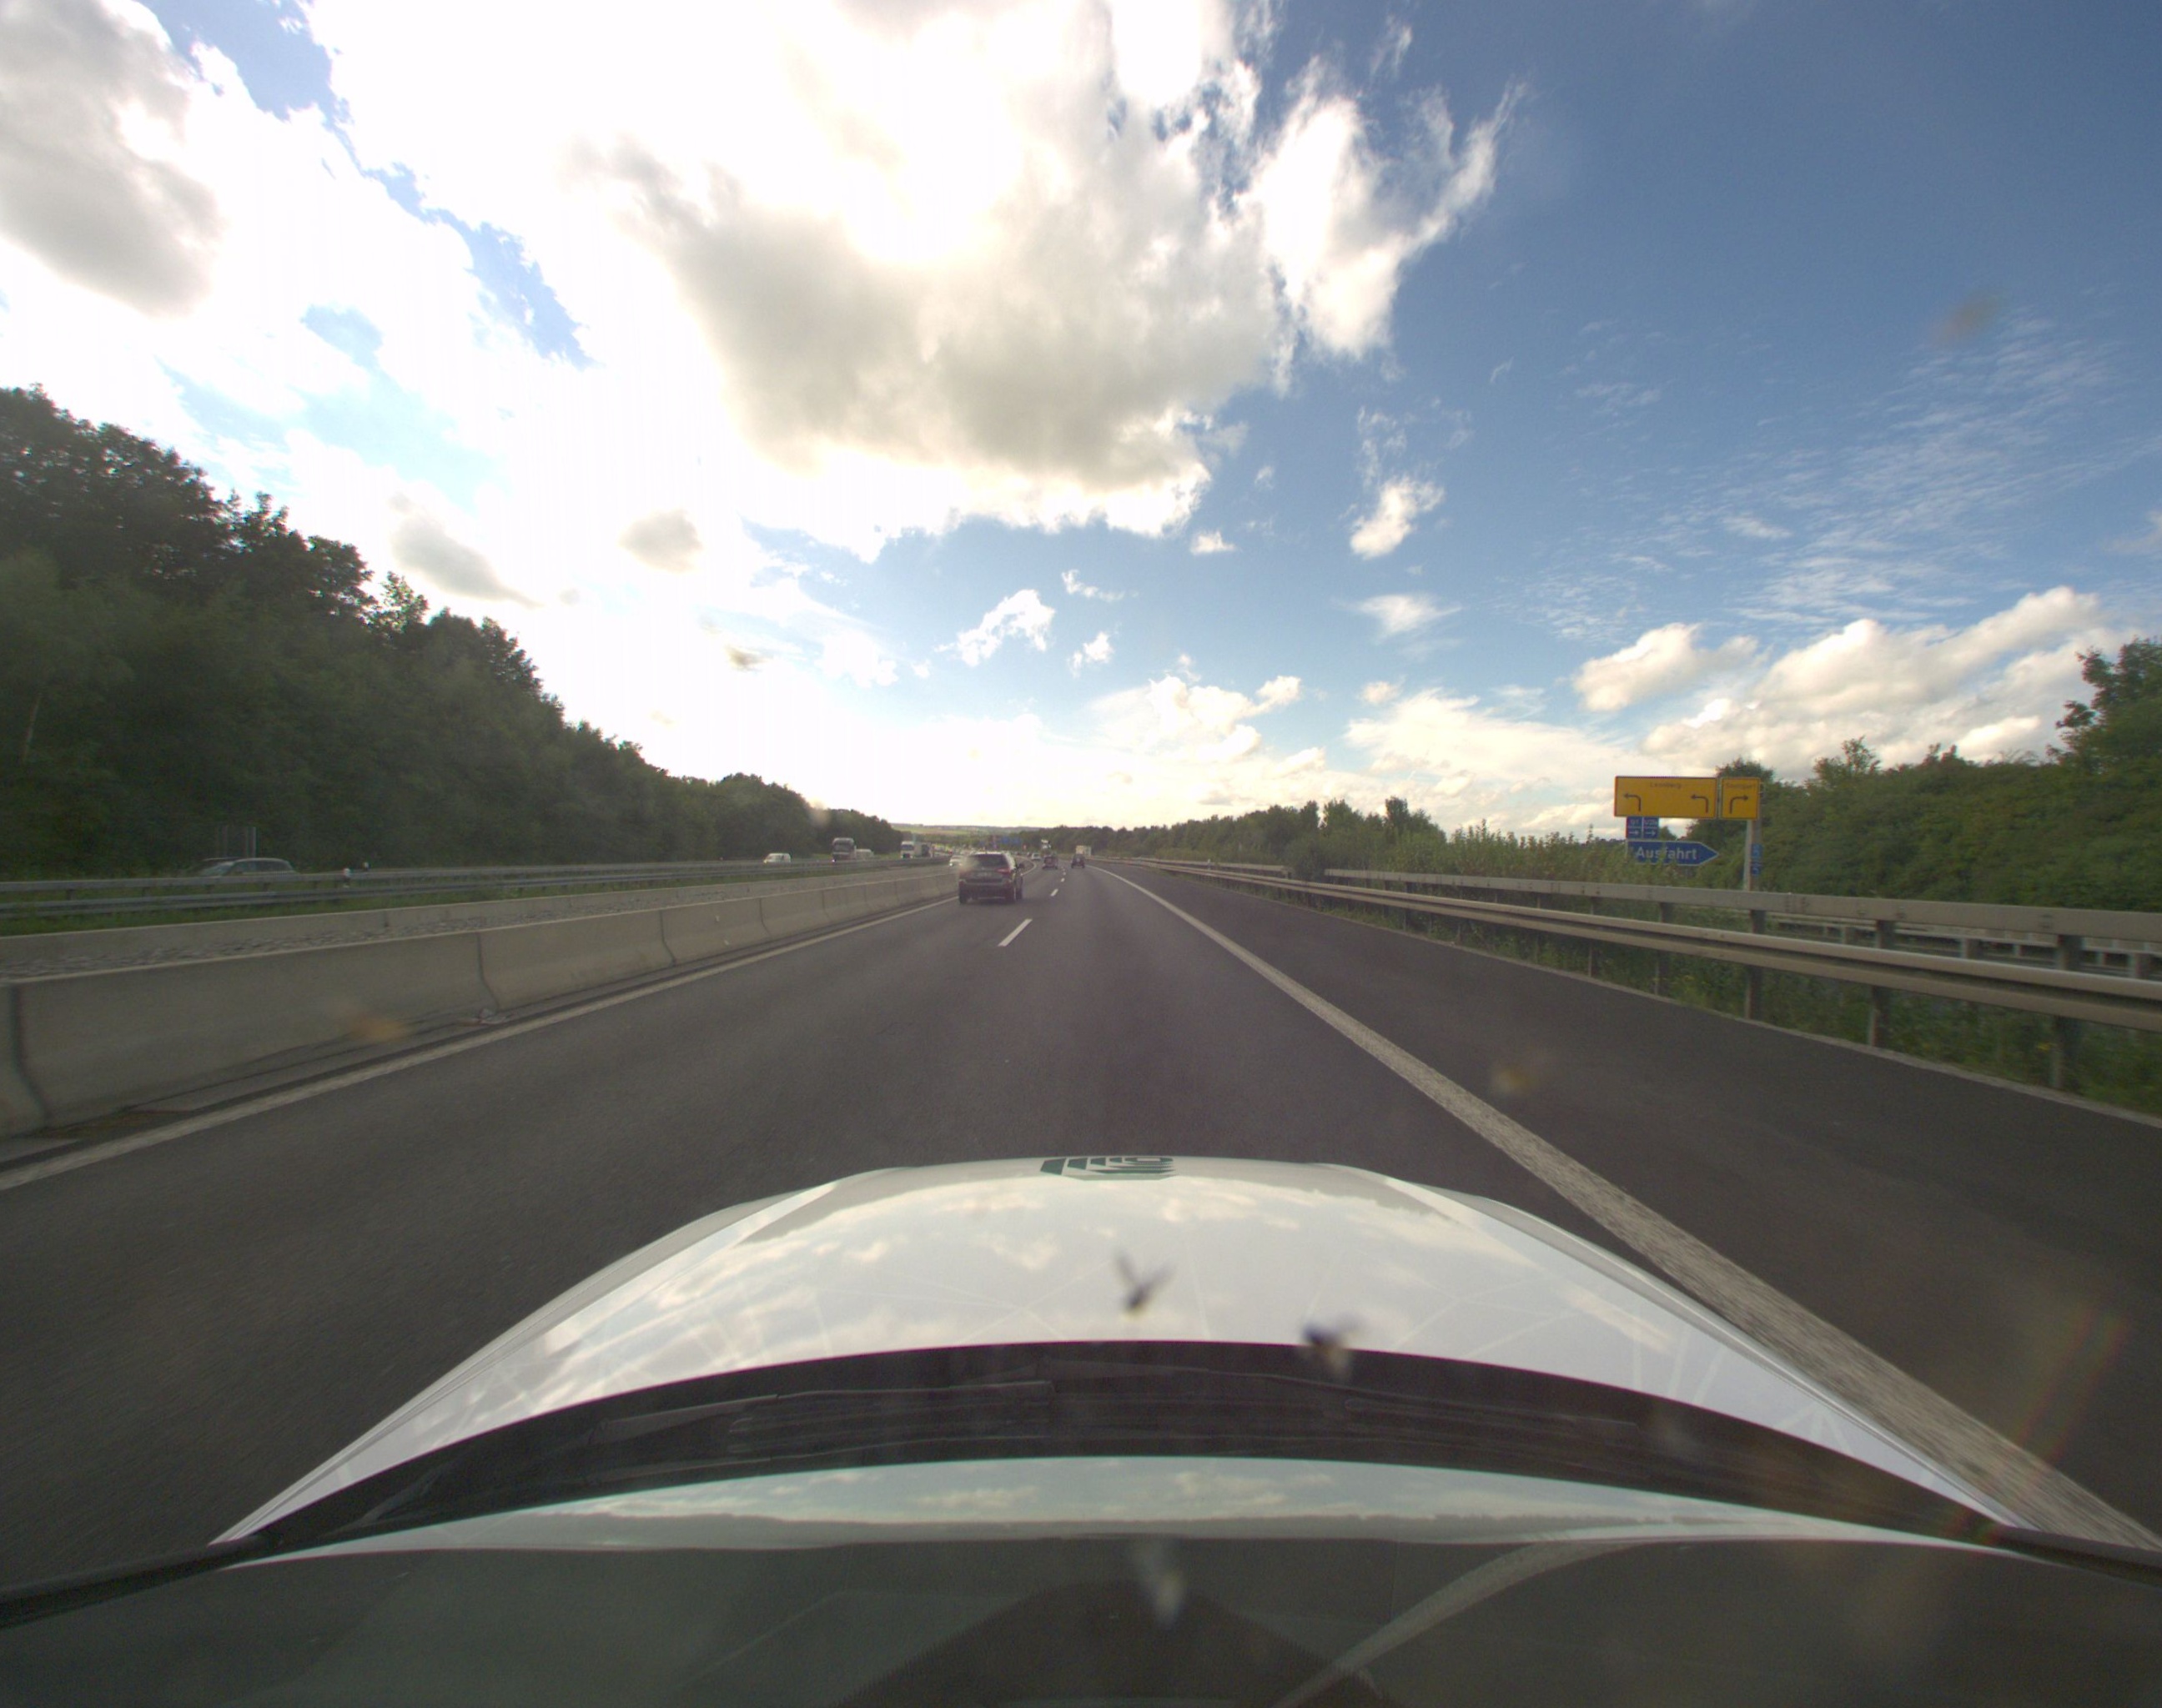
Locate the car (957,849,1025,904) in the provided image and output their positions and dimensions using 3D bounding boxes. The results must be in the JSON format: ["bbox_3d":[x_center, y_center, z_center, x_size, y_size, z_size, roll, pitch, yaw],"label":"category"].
[{"bbox_3d":[-3.066,0.740,28.757,1.812,1.736,5.185,0,-1,0],"label":"car"}]

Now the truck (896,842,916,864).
[{"bbox_3d":[-35.897,-0.170,167.167,3.316,4.293,6.735,0,-1,-5],"label":"truck"}]

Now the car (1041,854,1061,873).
[{"bbox_3d":[-3.425,1.078,93.761,2.024,2.151,4.000,0,0,0],"label":"car"}]

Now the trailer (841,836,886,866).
[{"bbox_3d":[-28.696,-0.373,108.064,2.804,3.807,12.185,0,0,0],"label":"trailer"}]

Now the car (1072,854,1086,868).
[{"bbox_3d":[-0.267,0.801,98.352,1.583,1.597,4.091,0,0,-3],"label":"car"}]

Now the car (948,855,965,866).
[{"bbox_3d":[-17.389,0.912,113.950,1.708,1.528,4.764,0,-1,-1],"label":"car"}]

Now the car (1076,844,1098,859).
[{"bbox_3d":[1.916,-0.751,258.620,4.730,4.266,11.359,0,-1,-11],"label":"car"}]

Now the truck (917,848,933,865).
[{"bbox_3d":[-38.812,0.748,203.270,2.898,3.969,10.442,0,-1,-6],"label":"truck"}]

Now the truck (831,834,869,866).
[{"bbox_3d":[-28.717,-0.436,101.360,2.801,3.826,7.125,0,0,-1],"label":"truck"}]

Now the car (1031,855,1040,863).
[{"bbox_3d":[-10.486,1.195,186.652,1.991,1.684,3.992,0,-1,-6],"label":"car"}]
